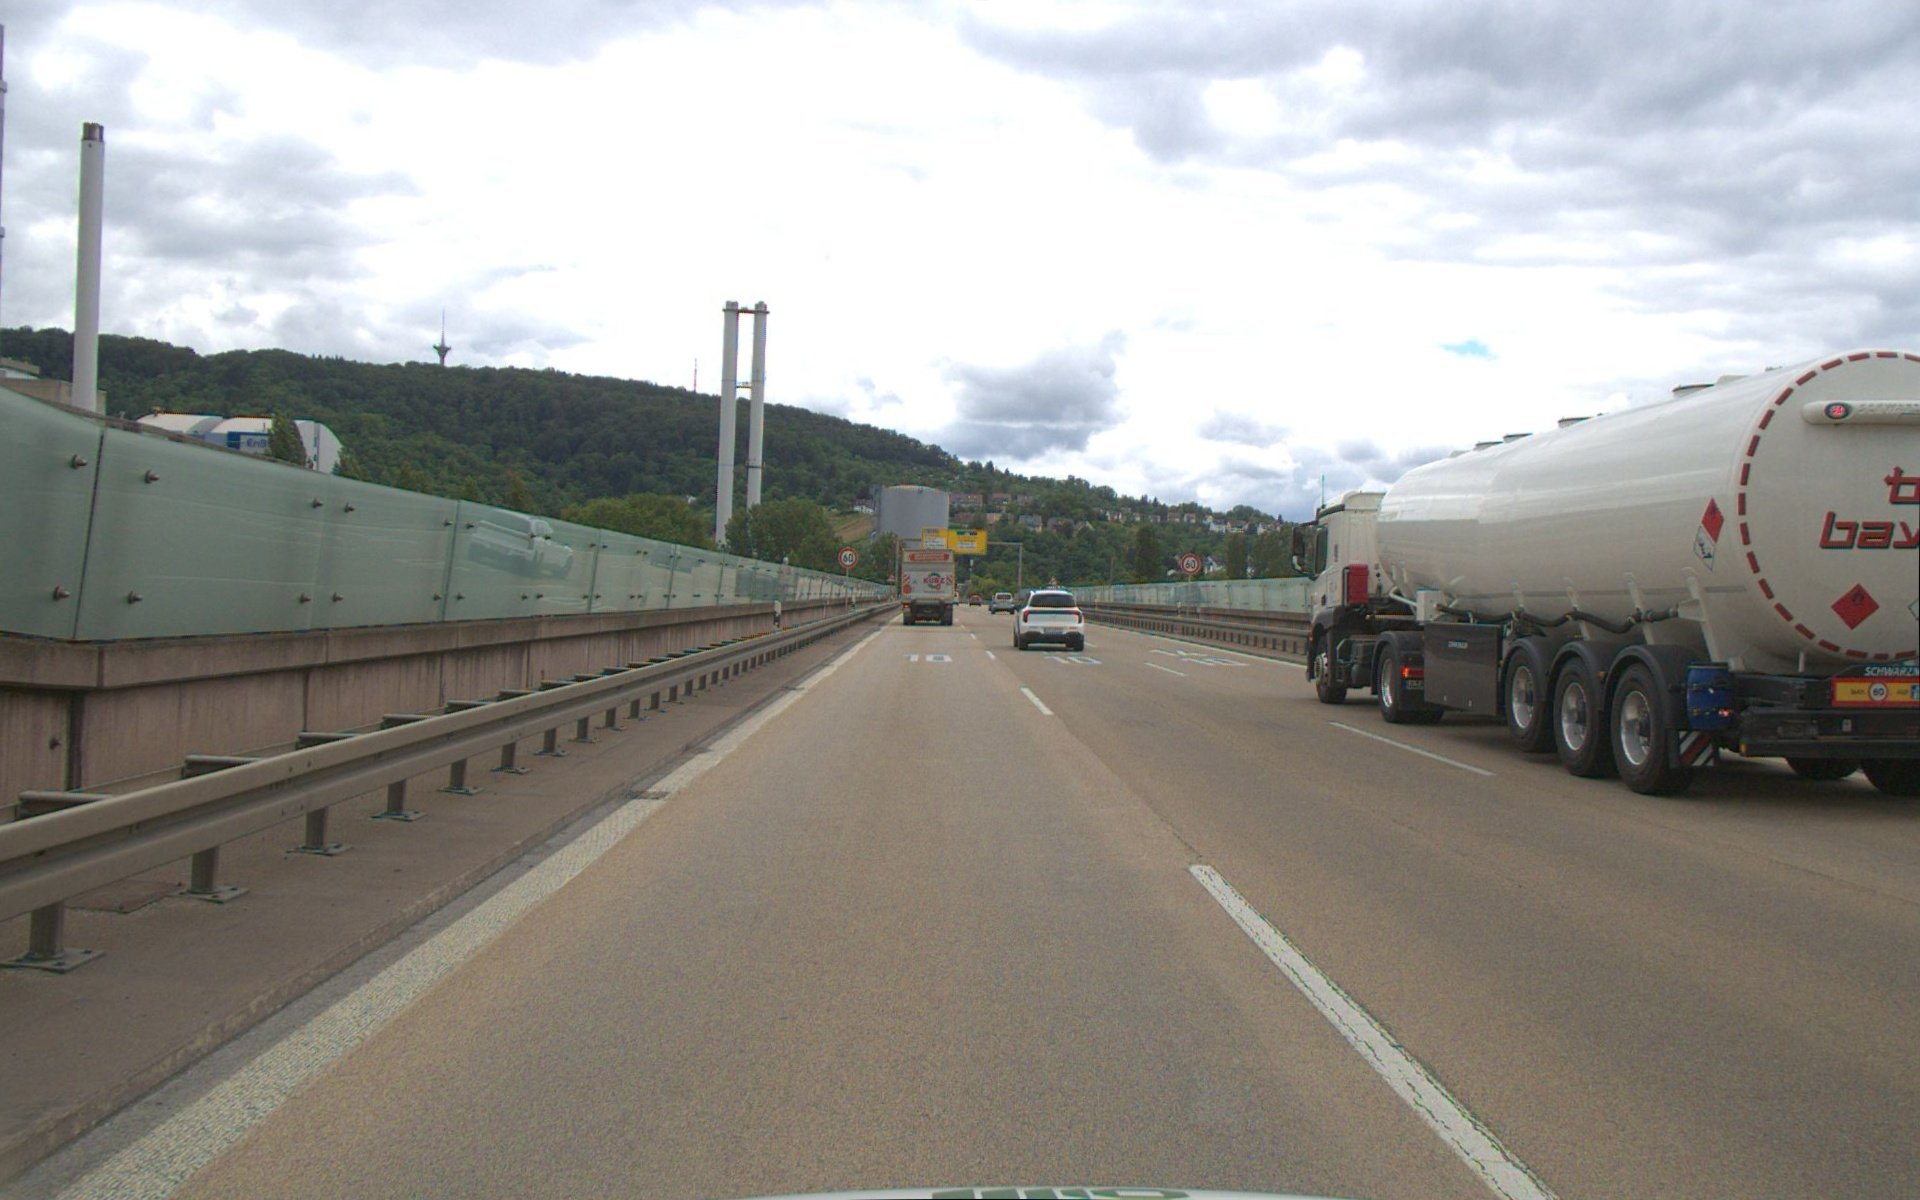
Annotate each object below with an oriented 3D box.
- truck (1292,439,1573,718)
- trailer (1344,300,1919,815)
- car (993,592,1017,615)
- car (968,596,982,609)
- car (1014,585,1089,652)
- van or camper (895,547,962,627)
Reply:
[{"bbox_3d":[6.627,-0.280,23.918,2.577,3.575,4.903,1,0,-1],"label":"truck"},{"bbox_3d":[6.694,-0.275,17.264,2.596,3.605,11.218,1,0,-1],"label":"trailer"},{"bbox_3d":[3.604,0.279,132.608,1.884,1.816,4.114,1,0,2],"label":"car"},{"bbox_3d":[2.134,0.330,240.588,1.884,1.816,4.113,1,0,0],"label":"car"},{"bbox_3d":[2.582,0.491,47.467,1.884,1.816,4.113,1,0,0],"label":"car"},{"bbox_3d":[-1.442,-0.603,81.001,3.058,3.642,8.549,1,0,0],"label":"van or camper"}]
